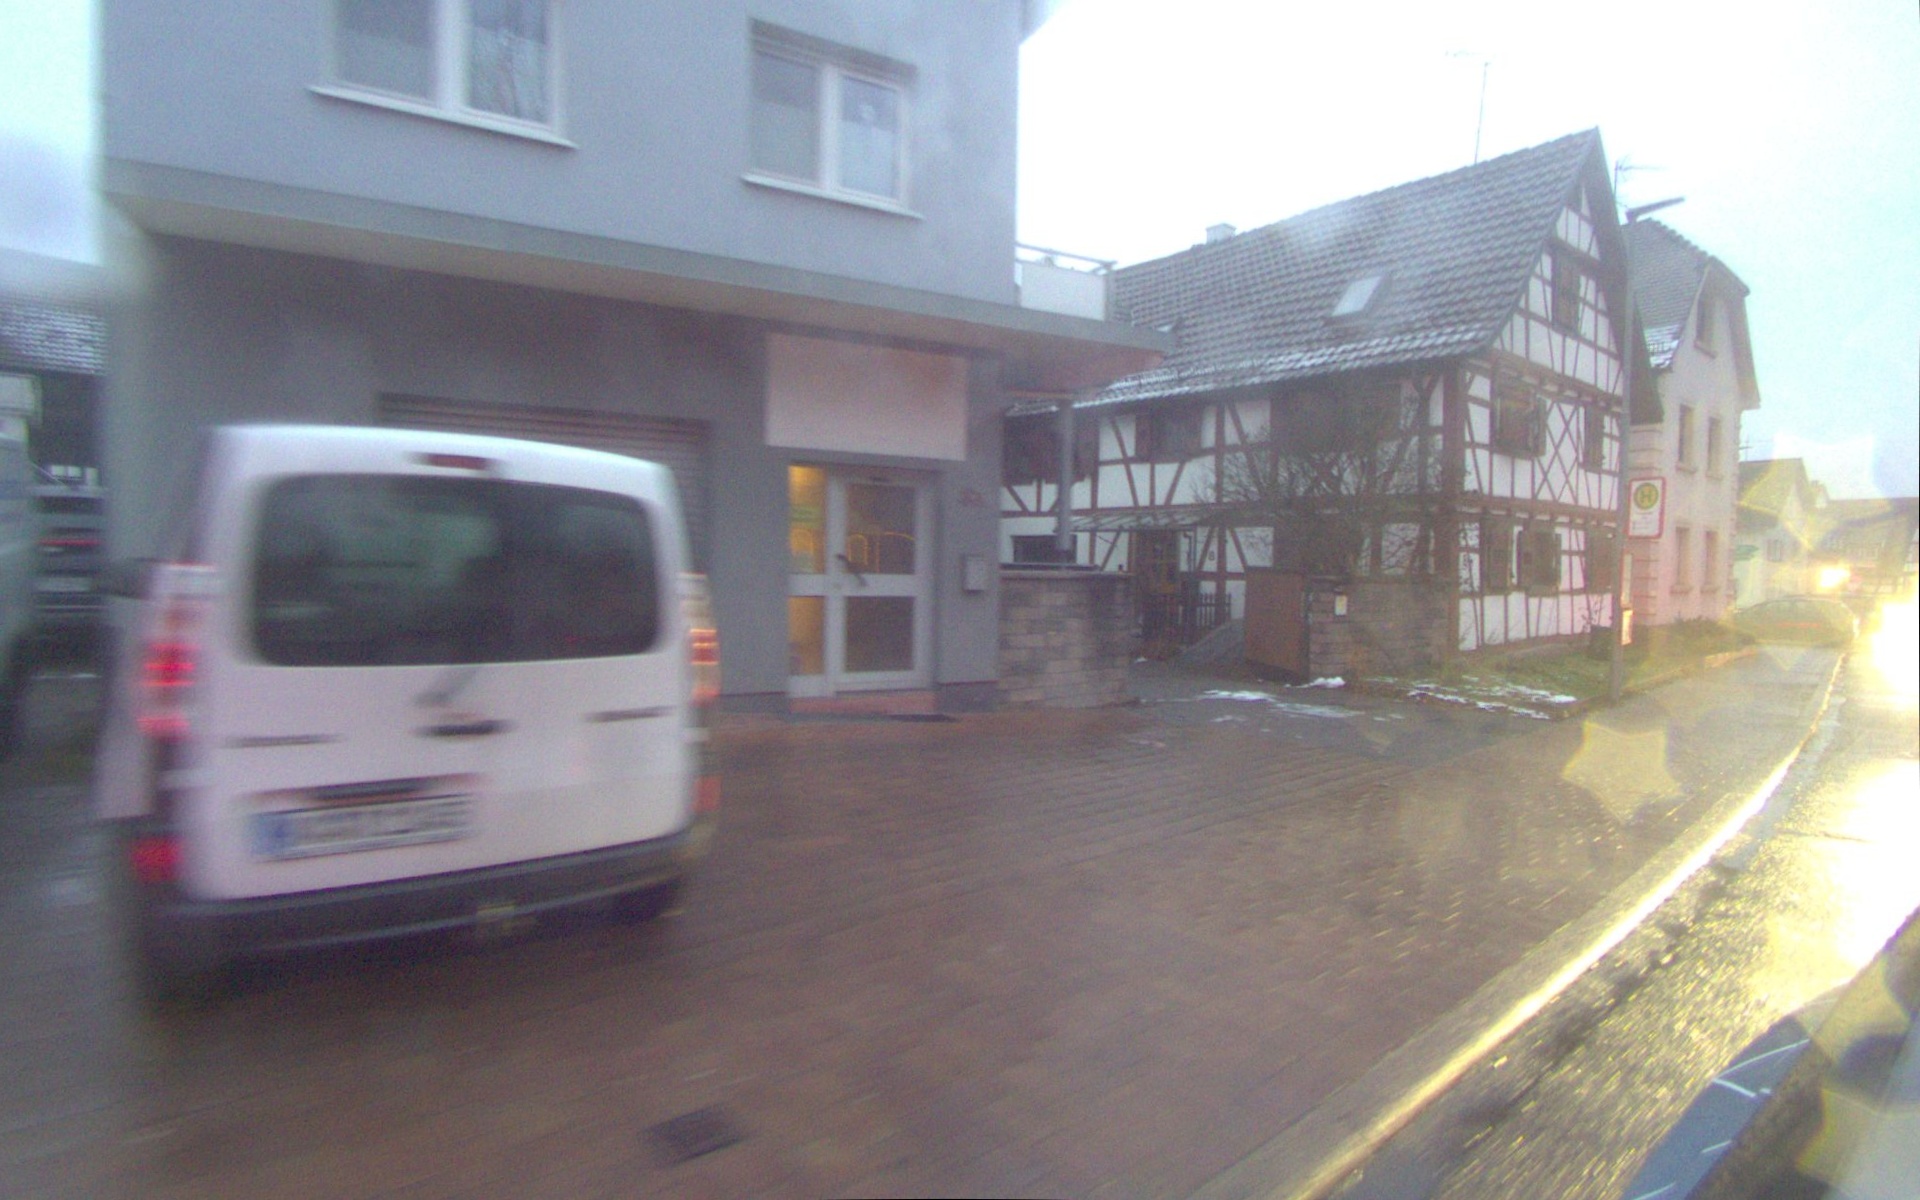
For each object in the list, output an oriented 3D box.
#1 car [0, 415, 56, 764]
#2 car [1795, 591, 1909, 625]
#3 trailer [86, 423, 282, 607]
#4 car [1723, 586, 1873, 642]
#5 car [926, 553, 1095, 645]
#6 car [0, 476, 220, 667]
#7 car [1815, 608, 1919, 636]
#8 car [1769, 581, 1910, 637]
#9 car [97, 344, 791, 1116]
[{"bbox_3d":[-5.516,0.006,4.239,1.899,1.912,5.001,1,3,-34],"label":"car"},{"bbox_3d":[41.498,0.332,47.114,1.526,1.384,3.880,1,2,-45],"label":"car"},{"bbox_3d":[-12.257,-1.402,16.273,1.802,2.546,4.010,0,6,-28],"label":"trailer"},{"bbox_3d":[28.763,0.435,34.839,3.839,1.647,1.588,4,2,41],"label":"car"},{"bbox_3d":[0.958,-0.103,20.661,1.590,1.561,3.426,-4,6,-39],"label":"car"},{"bbox_3d":[-9.138,-0.420,10.506,1.843,1.641,4.008,0,5,-29],"label":"car"},{"bbox_3d":[45.974,1.094,51.319,1.526,1.141,3.880,0,2,-45],"label":"car"},{"bbox_3d":[33.052,0.302,38.197,3.873,1.900,1.842,3,2,40],"label":"car"},{"bbox_3d":[-2.556,0.180,4.603,1.829,1.865,4.056,0,4,-37],"label":"car"}]
